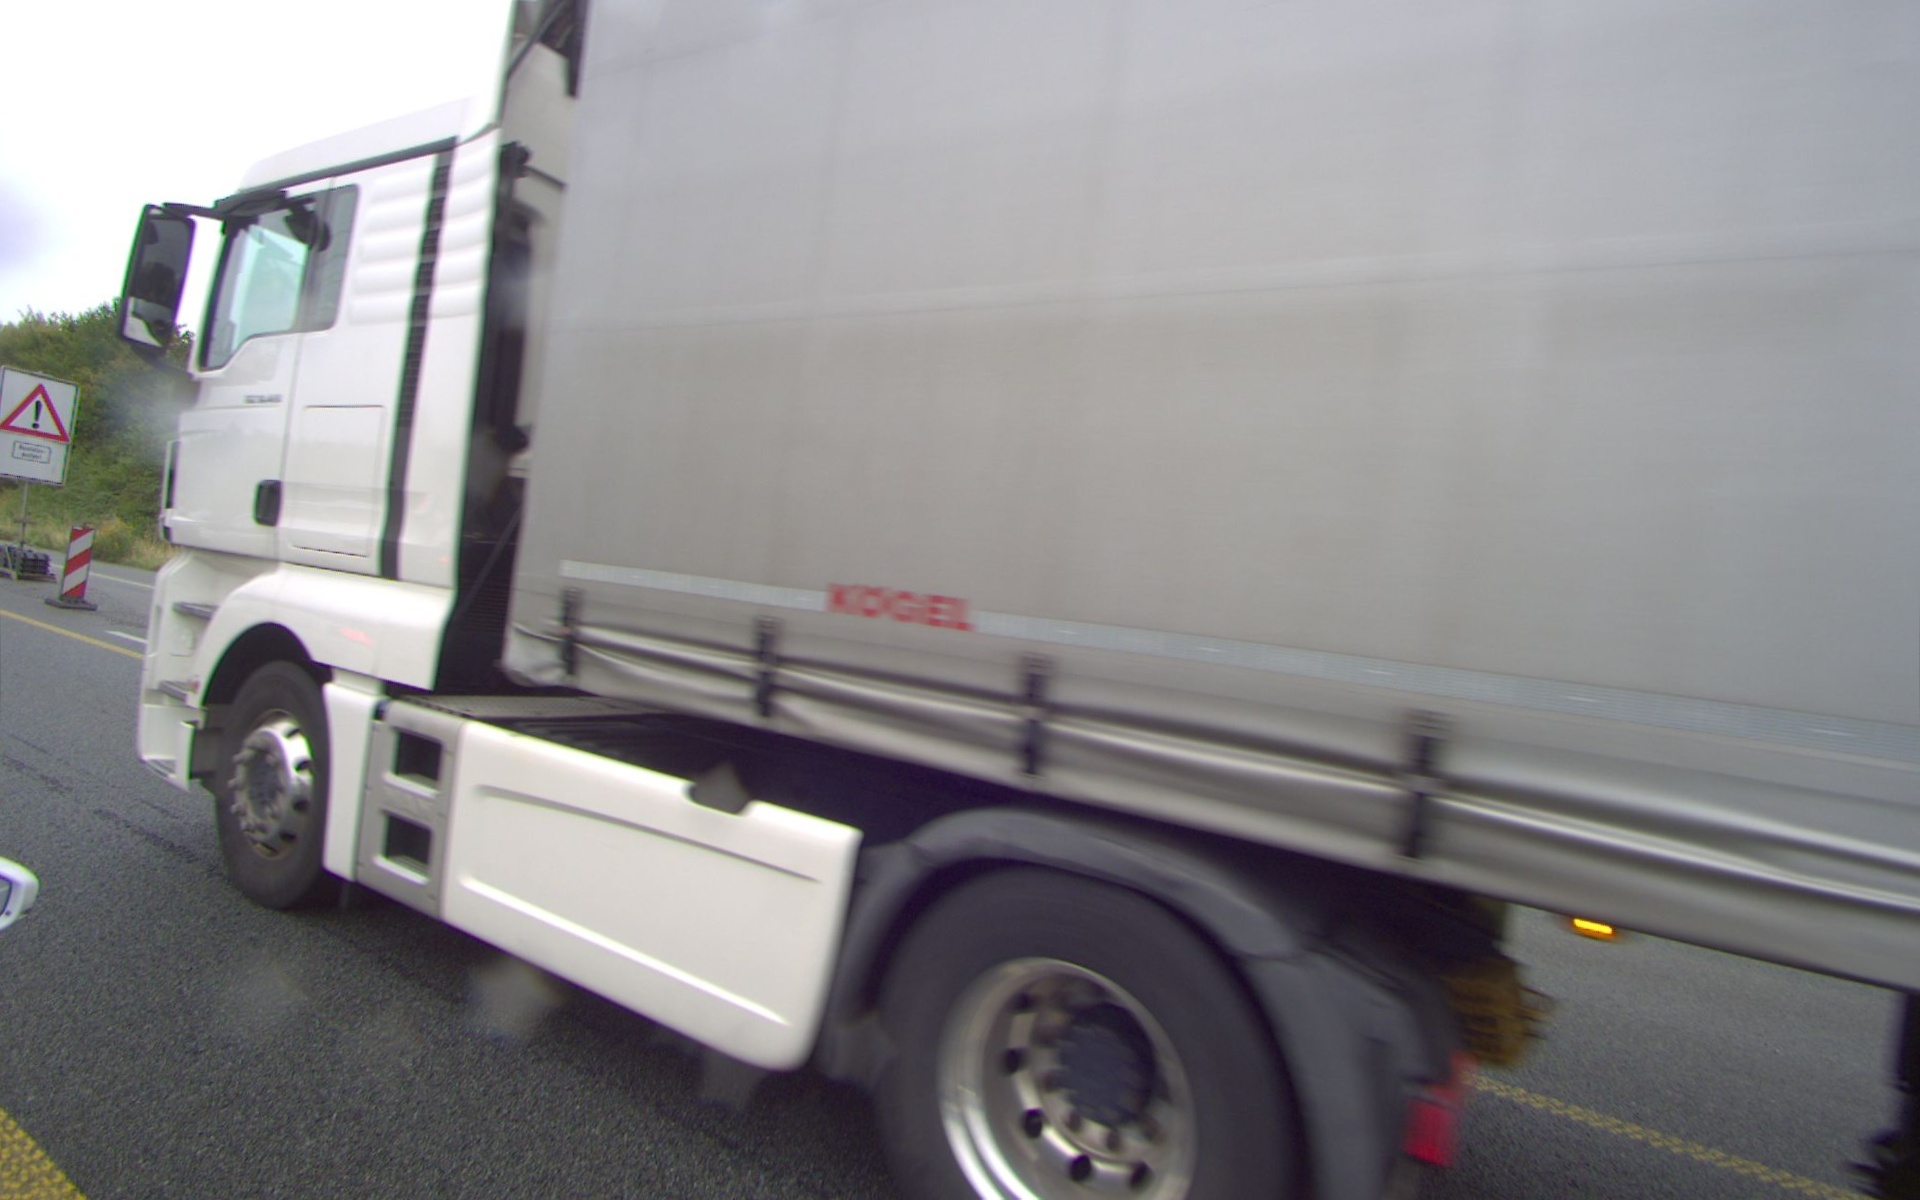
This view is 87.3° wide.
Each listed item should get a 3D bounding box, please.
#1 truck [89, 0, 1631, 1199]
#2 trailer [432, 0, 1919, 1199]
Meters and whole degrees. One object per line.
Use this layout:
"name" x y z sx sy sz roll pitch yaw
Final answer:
"truck" -0.671 -0.640 4.275 5.596 4.188 2.710 7 0 32
"trailer" 5.037 0.036 0.650 13.504 4.196 2.710 7 0 32
